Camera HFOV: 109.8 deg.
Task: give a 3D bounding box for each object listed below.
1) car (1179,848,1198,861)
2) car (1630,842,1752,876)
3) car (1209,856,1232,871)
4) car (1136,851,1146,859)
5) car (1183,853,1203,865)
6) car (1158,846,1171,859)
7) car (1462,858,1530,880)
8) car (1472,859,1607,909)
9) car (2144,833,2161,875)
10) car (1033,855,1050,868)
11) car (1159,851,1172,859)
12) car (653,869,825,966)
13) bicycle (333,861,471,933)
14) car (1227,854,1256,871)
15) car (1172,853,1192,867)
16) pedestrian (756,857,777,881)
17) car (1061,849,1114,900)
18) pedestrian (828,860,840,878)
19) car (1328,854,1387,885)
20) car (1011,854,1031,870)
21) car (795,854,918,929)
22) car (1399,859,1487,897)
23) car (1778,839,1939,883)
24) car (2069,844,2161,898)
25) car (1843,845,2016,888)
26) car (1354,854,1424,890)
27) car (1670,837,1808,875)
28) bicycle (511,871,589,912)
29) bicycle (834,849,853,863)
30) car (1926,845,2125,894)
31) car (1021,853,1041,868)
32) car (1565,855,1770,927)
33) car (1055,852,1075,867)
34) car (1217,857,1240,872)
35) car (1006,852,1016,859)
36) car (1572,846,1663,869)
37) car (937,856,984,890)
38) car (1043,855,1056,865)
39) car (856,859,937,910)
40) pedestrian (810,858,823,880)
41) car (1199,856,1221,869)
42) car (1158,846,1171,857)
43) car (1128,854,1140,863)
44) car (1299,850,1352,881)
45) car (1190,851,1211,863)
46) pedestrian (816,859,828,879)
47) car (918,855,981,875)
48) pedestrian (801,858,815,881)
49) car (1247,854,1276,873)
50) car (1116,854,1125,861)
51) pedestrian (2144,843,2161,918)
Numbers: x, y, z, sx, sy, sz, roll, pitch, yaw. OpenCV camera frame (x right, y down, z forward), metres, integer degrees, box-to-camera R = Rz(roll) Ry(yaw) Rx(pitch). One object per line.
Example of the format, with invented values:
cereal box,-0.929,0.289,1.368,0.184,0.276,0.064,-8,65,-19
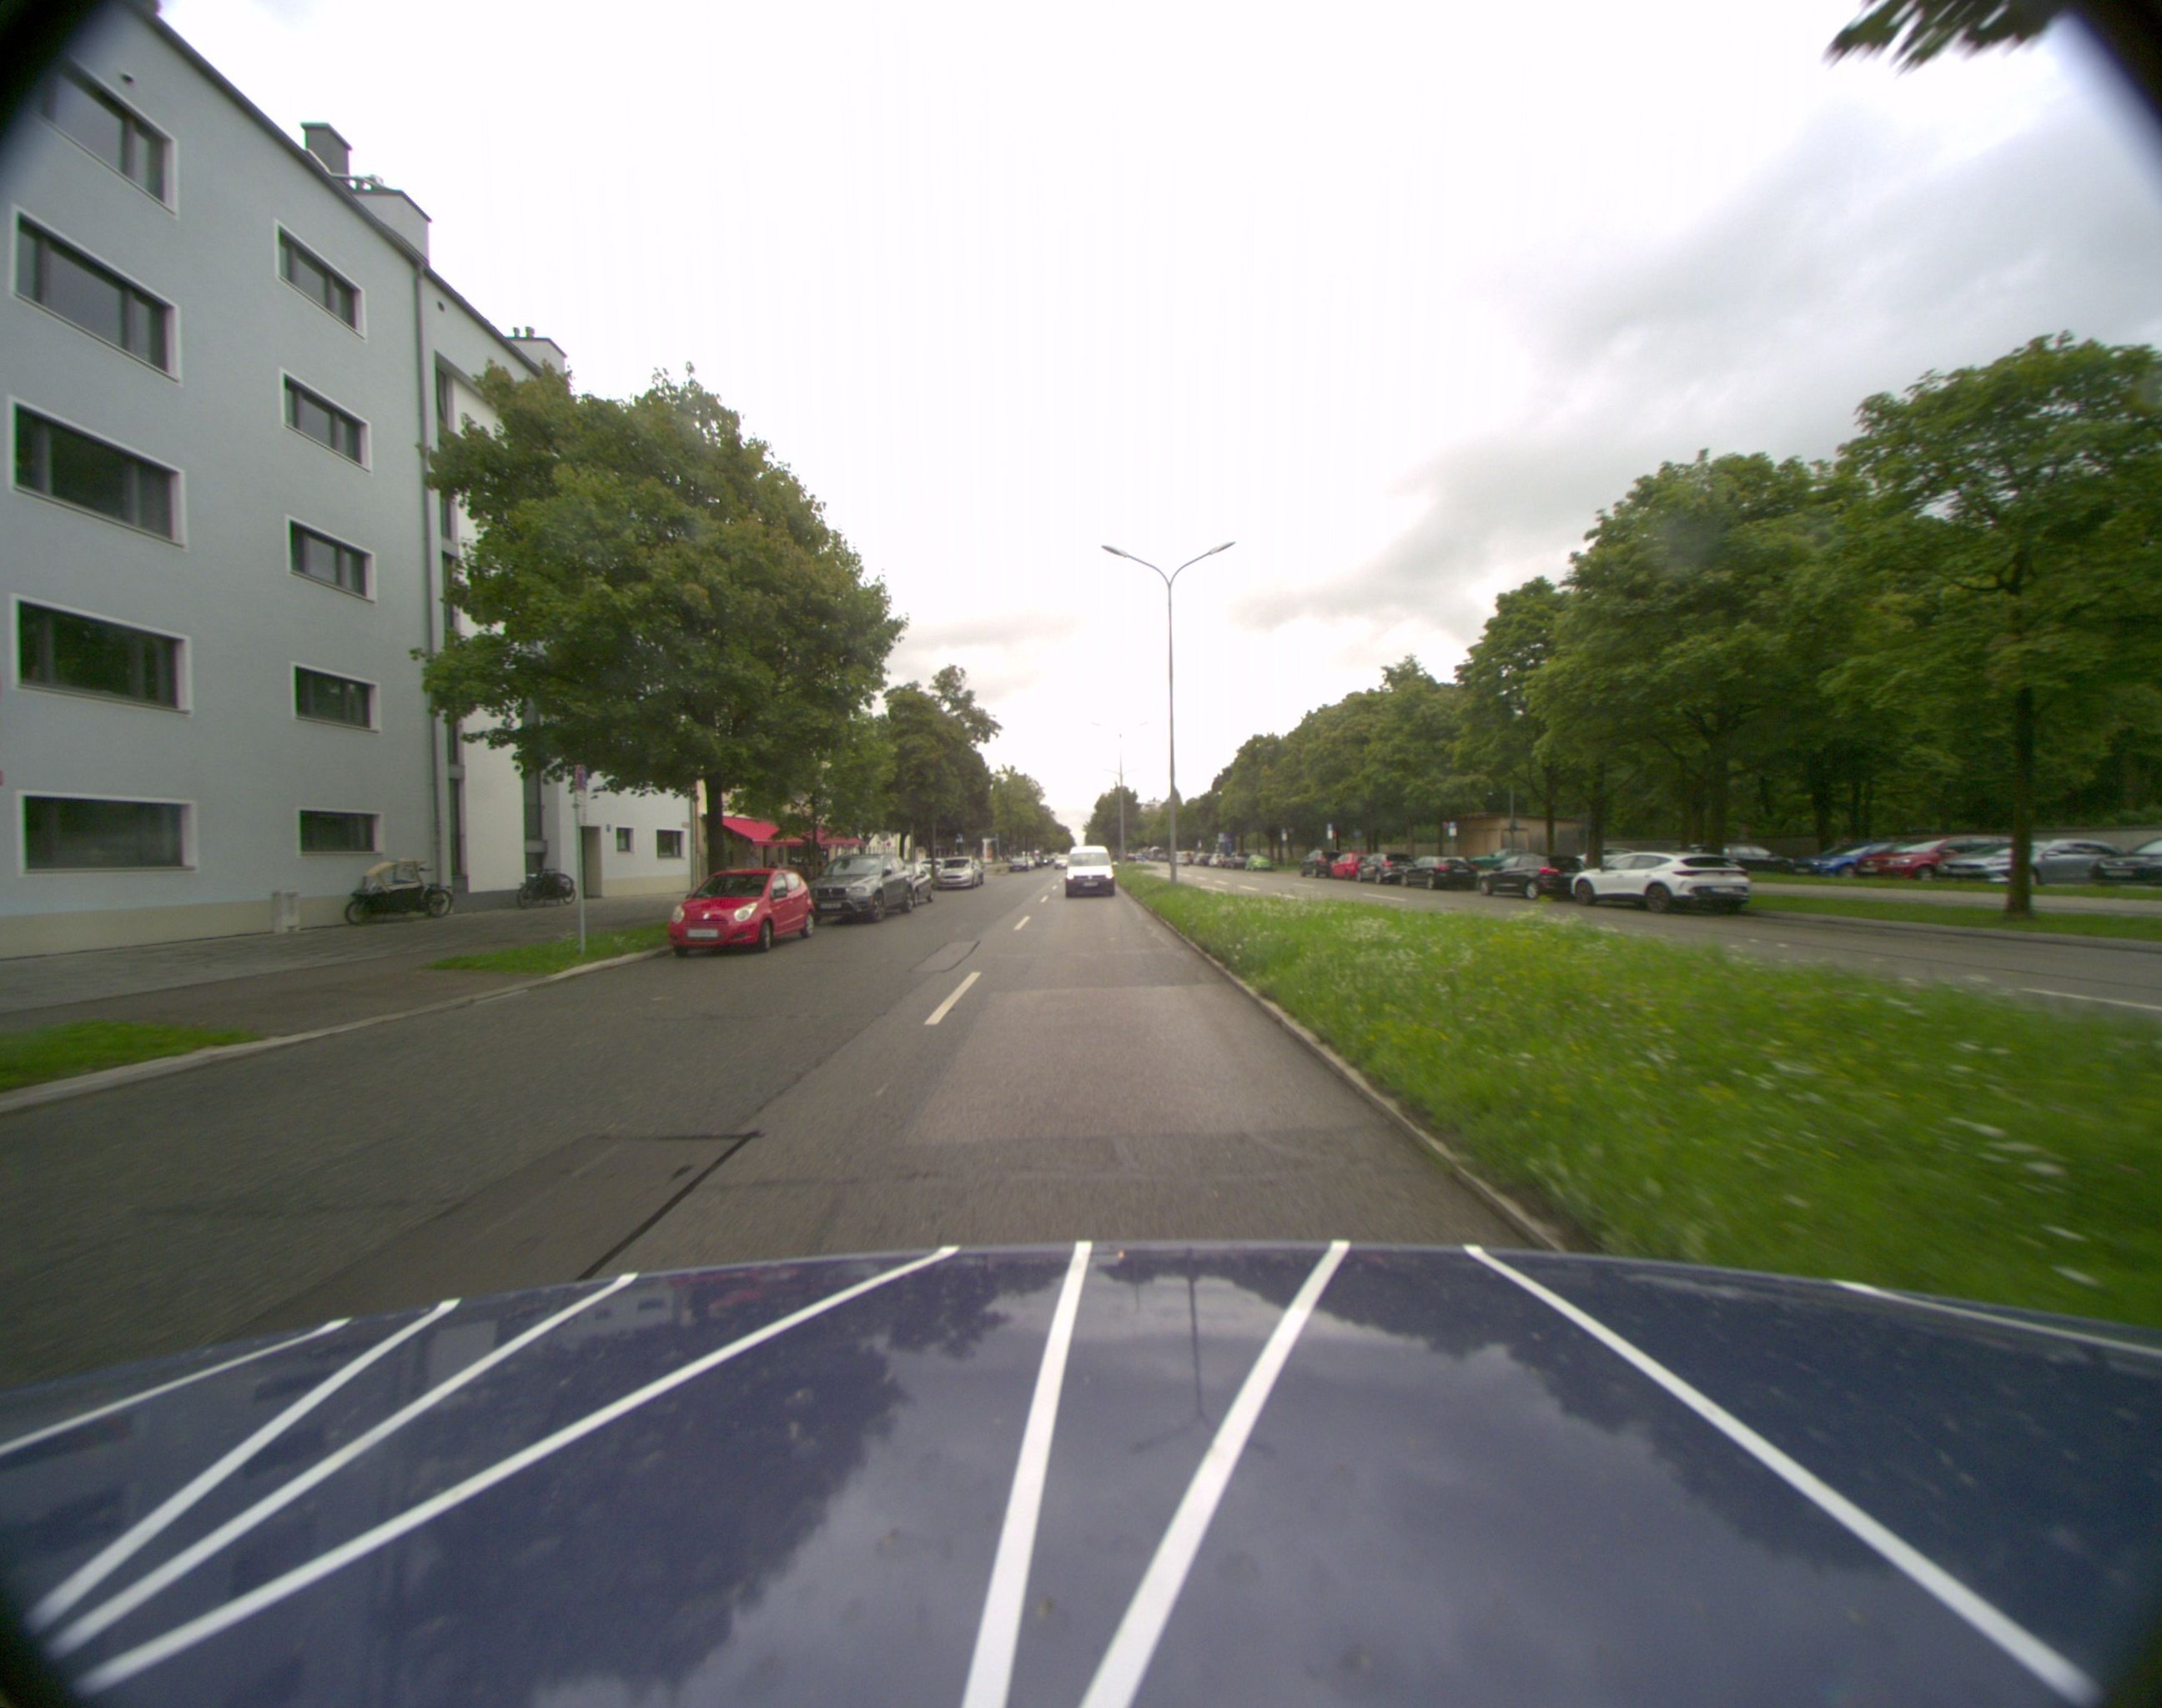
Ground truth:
car,15.146,0.096,107.310,1.862,1.761,4.533,0,0,-2
car,27.994,0.215,34.970,3.997,1.434,2.000,-2,1,0
car,15.244,1.012,83.416,1.826,1.468,4.259,1,0,1
car,12.300,0.243,156.635,1.826,1.544,3.721,-2,0,1
car,14.869,0.632,100.945,2.007,1.607,4.040,0,0,-2
car,16.613,-0.291,151.185,1.999,2.576,4.499,0,0,-2
car,27.412,0.997,50.244,3.849,1.401,1.863,-1,1,31
car,14.719,0.904,24.663,1.826,1.439,3.999,0,0,-3
car,39.950,-0.059,25.954,4.517,1.434,2.000,-2,1,0
car,-4.954,0.934,94.927,1.826,1.502,4.157,-2,0,0
car,15.383,0.145,138.830,1.717,1.401,4.040,0,0,-2
car,-6.258,1.072,14.435,1.525,1.433,3.999,-2,0,-2
bicycle,-14.963,0.893,16.877,0.704,1.399,2.592,2,1,1
car,15.254,0.782,72.576,1.826,1.621,4.456,0,0,0
car,11.854,0.658,89.501,1.855,1.591,4.402,1,0,1
pedestrian,-15.416,0.744,37.253,0.745,1.156,0.646,0,1,0
car,0.239,0.721,29.526,1.772,1.742,4.545,-3,0,0
pedestrian,-15.292,0.936,47.067,0.539,1.048,0.487,-2,1,0
car,15.167,0.827,41.906,1.826,1.471,3.808,-2,1,-1
car,-5.818,0.733,73.881,1.648,1.468,3.956,-2,0,-1
car,-5.861,0.894,20.441,1.834,1.736,4.508,-2,0,1
car,14.712,0.934,31.116,1.826,1.401,4.000,0,1,3
car,28.063,0.244,27.505,3.999,1.434,1.999,-2,1,-5
car,27.847,0.385,19.191,3.999,1.251,1.689,-1,1,-6
car,27.617,0.385,24.803,3.999,1.276,1.740,-1,1,-5
car,14.758,0.808,36.663,1.826,1.590,4.112,-1,1,2
car,27.608,0.094,31.967,4.146,1.434,1.999,-2,1,-2
bicycle,-15.010,1.036,21.560,0.623,1.040,2.195,2,1,1
bicycle,-21.180,0.185,67.862,1.473,1.149,0.699,-2,1,-2
car,27.374,0.432,22.086,3.999,1.276,1.740,-1,1,-6
car,-5.581,0.687,84.500,1.826,1.428,4.287,-3,0,1
car,14.647,0.849,19.340,1.826,1.519,4.297,0,1,-1
car,-1.714,0.580,81.409,1.984,1.591,4.402,1,0,1
car,15.209,1.066,78.397,1.654,1.414,3.687,1,0,1
car,-15.261,0.359,165.735,1.827,1.460,4.300,-1,0,1
car,33.040,0.225,46.959,4.457,1.401,1.863,-1,0,31
car,-6.047,0.929,38.665,1.834,1.513,4.522,-3,0,-3
car,-4.597,0.850,110.912,1.827,1.371,4.300,-2,0,-1
car,-6.130,0.963,25.688,1.834,1.513,3.770,-2,0,-1
pedestrian,-15.474,0.896,44.519,0.539,1.261,0.487,-2,1,-1
car,15.145,0.991,89.351,1.826,1.438,3.787,1,0,-2
car,15.787,-0.473,143.604,1.998,2.002,3.999,-2,0,0
car,9.716,0.802,139.062,1.820,1.440,4.781,0,0,0
car,14.861,0.662,46.447,1.826,1.690,4.238,-2,1,-1
car,14.868,0.398,94.956,1.826,1.461,4.300,0,0,-2
pedestrian,-15.472,0.903,45.433,0.539,1.207,0.487,-2,1,0
car,-10.000,0.825,57.847,4.214,1.434,2.002,-1,1,15
pedestrian,-15.557,0.879,43.301,0.539,1.331,0.552,-2,1,-1
car,15.191,0.797,64.135,1.644,1.490,4.000,0,0,1
car,9.485,0.796,182.448,1.826,1.580,4.501,-2,0,1
pedestrian,21.767,0.526,14.843,0.797,1.487,0.856,-1,1,1
